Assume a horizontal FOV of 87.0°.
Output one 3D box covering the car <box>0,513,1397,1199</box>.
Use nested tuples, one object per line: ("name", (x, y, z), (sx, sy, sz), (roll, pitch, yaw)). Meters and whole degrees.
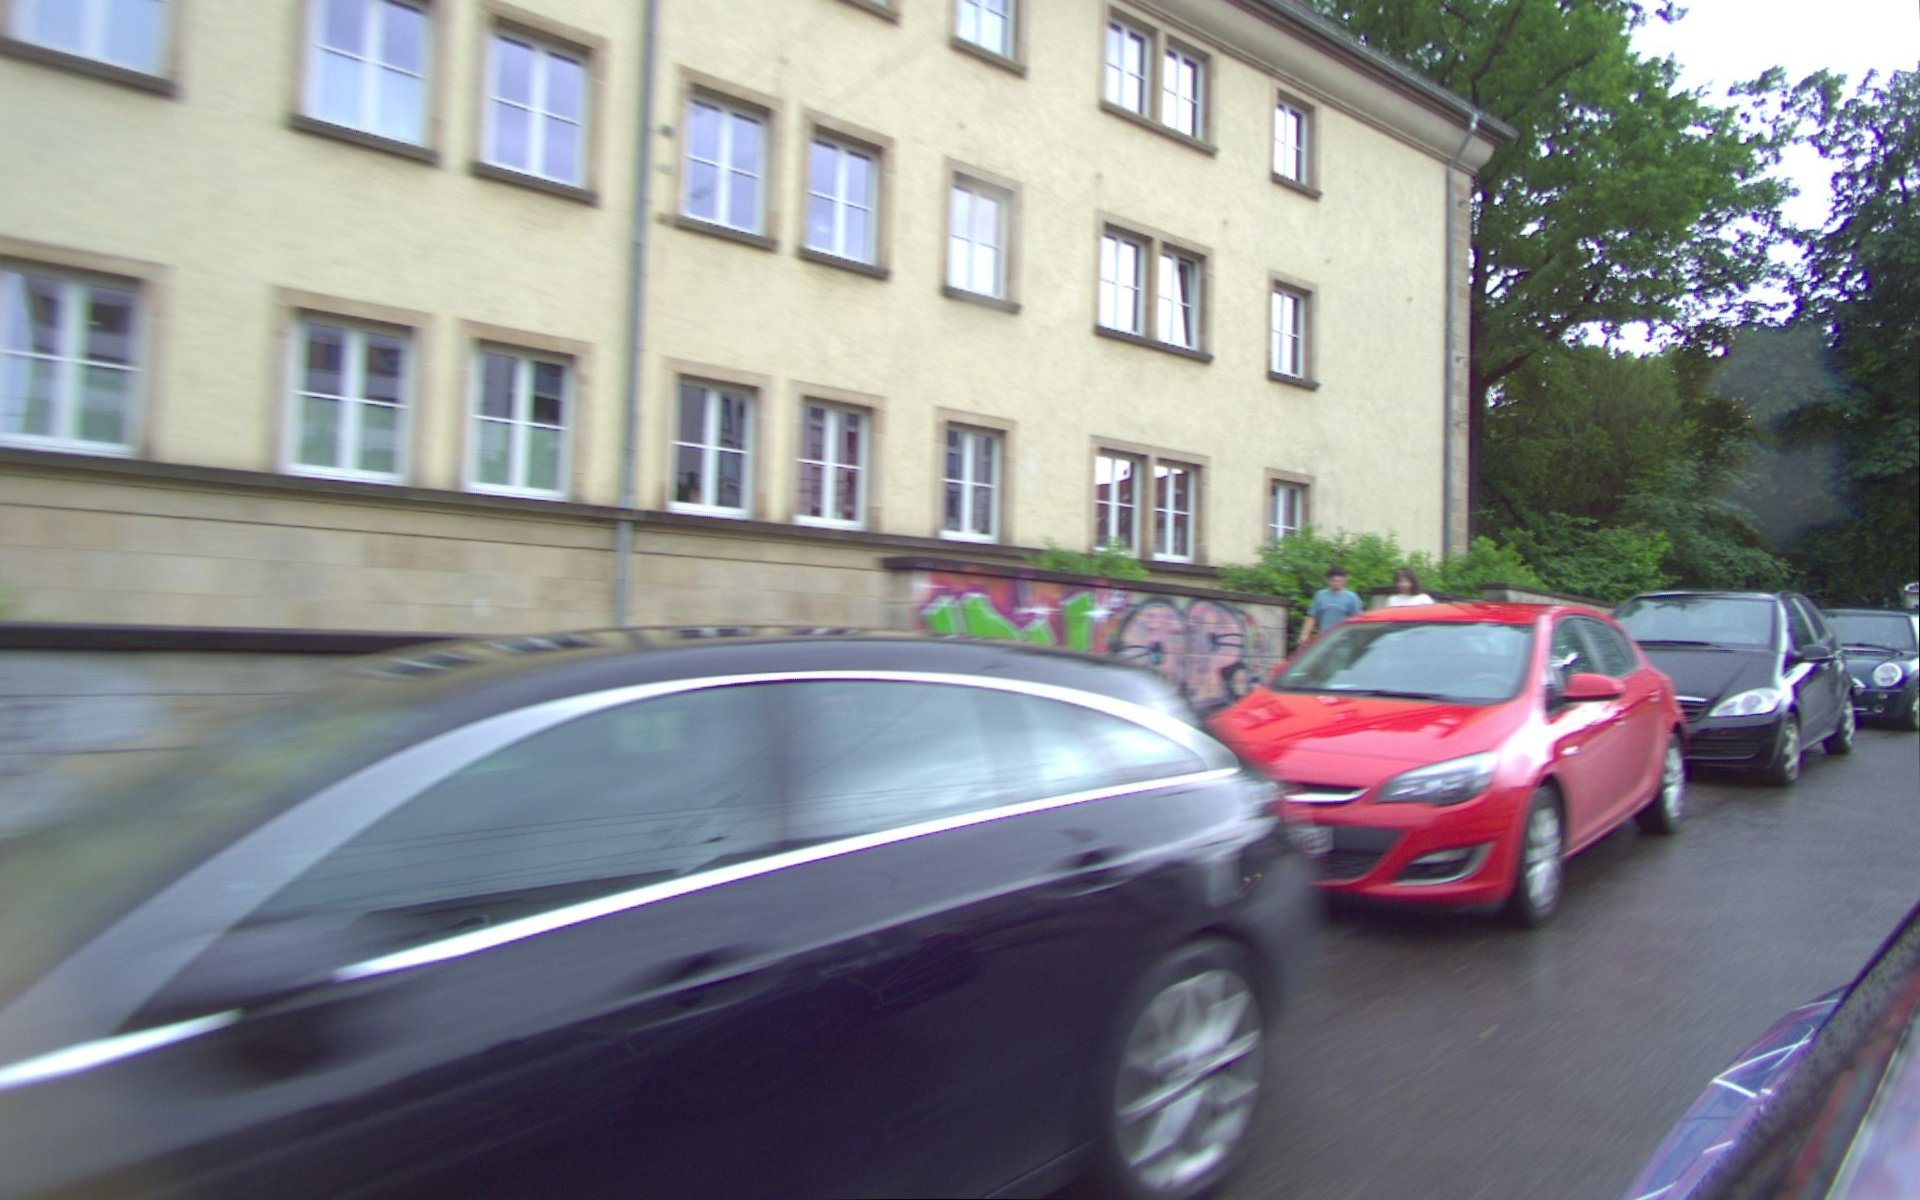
("car", (-0.931, 0.641, 2.208), (4.378, 1.495, 1.669), (0, 1, -40))

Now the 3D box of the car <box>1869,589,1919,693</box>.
("car", (15.055, 0.614, 14.722), (2.663, 1.484, 1.606), (1, 1, -19))

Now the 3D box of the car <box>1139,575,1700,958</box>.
("car", (2.927, 0.666, 5.973), (3.999, 1.495, 1.666), (0, -1, -44))

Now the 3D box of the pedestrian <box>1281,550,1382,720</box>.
("pedestrian", (4.053, 0.366, 11.068), (0.724, 1.777, 0.721), (1, 0, -31))

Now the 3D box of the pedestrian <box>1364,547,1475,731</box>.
("pedestrian", (4.655, 0.377, 10.272), (0.724, 1.777, 0.721), (1, 0, -31))

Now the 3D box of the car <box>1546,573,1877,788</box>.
("car", (7.099, 0.589, 9.431), (3.788, 1.593, 1.669), (0, 1, -41))

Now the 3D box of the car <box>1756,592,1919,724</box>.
("car", (11.661, 0.648, 12.765), (3.574, 1.434, 1.541), (1, 1, -35))
